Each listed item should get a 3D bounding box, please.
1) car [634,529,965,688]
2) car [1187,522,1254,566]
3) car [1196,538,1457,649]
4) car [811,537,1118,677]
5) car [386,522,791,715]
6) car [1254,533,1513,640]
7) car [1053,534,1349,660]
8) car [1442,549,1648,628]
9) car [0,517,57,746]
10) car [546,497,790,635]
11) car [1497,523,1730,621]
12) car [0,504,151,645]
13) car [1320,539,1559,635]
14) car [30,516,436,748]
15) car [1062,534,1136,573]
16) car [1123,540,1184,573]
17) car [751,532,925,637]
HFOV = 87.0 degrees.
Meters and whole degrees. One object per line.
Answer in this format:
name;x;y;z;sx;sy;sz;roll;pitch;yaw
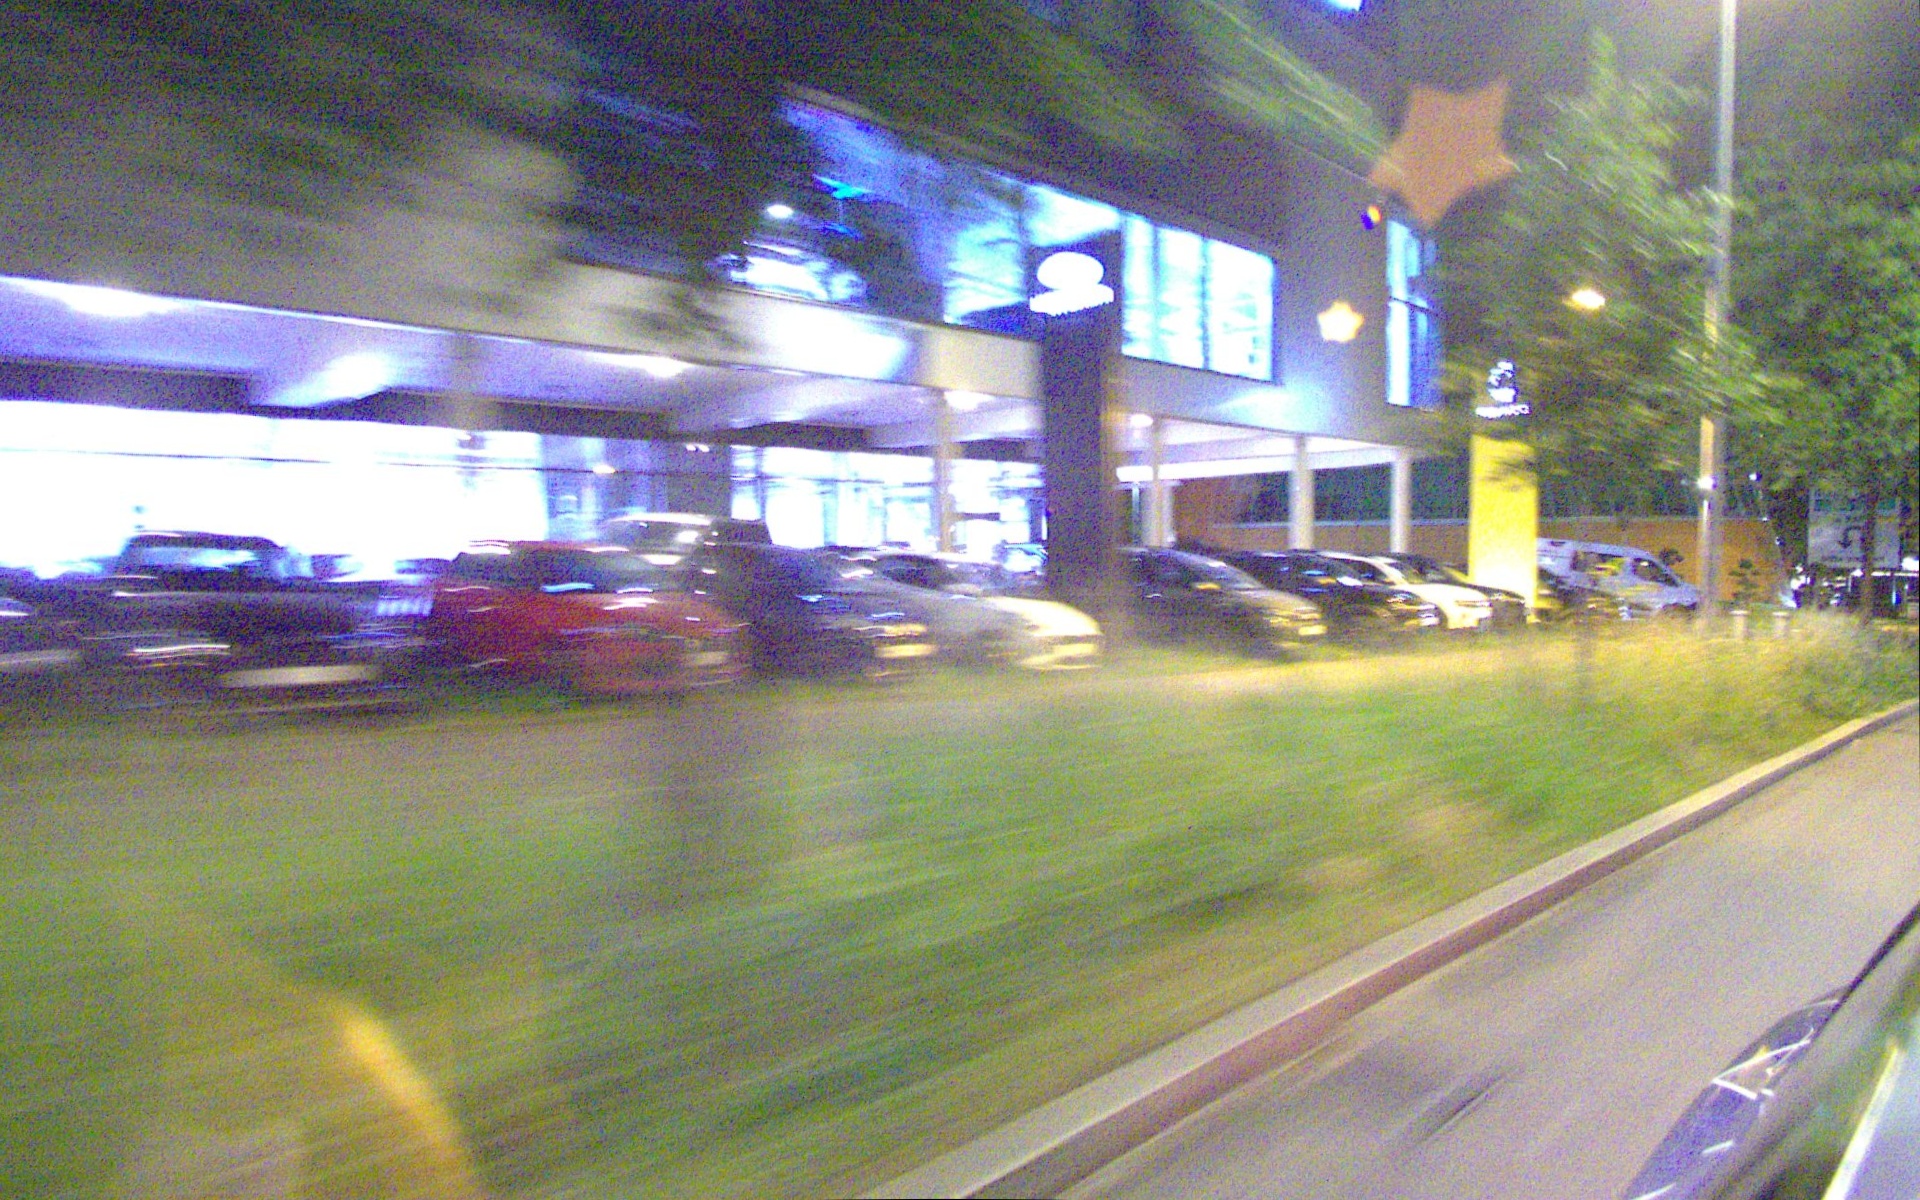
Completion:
car;-1.968;-0.012;11.896;3.761;1.395;1.694;7;5;37
car;10.967;-2.322;42.468;1.767;1.620;3.931;7;5;27
car;6.670;-0.193;18.641;4.077;1.587;1.828;7;5;40
car;-0.017;-0.001;13.465;3.794;1.470;1.695;5;4;37
car;-3.796;0.047;10.101;4.011;1.389;1.804;6;5;34
car;8.620;-0.357;20.821;4.458;1.707;1.972;8;5;40
car;3.899;-0.164;16.895;4.460;1.565;1.744;8;7;41
car;14.720;-0.352;25.576;4.198;1.683;1.933;5;4;40
car;-7.919;0.093;6.587;3.964;1.409;1.808;3;2;28
car;-4.583;-0.548;16.788;1.807;1.941;4.810;0;1;13
car;21.153;-0.993;33.082;5.999;2.559;2.256;8;5;34
car;-10.997;-0.278;10.574;1.604;1.482;3.776;1;2;16
car;10.699;-0.362;22.772;4.456;1.832;1.972;5;4;40
car;-6.096;0.085;8.312;3.983;1.397;1.783;5;4;40
car;6.477;-2.119;46.785;1.981;1.682;4.625;1;2;27
car;8.677;-1.950;45.151;1.642;1.352;3.843;3;3;27
car;-1.972;-0.337;17.603;1.960;1.548;3.991;2;3;9
